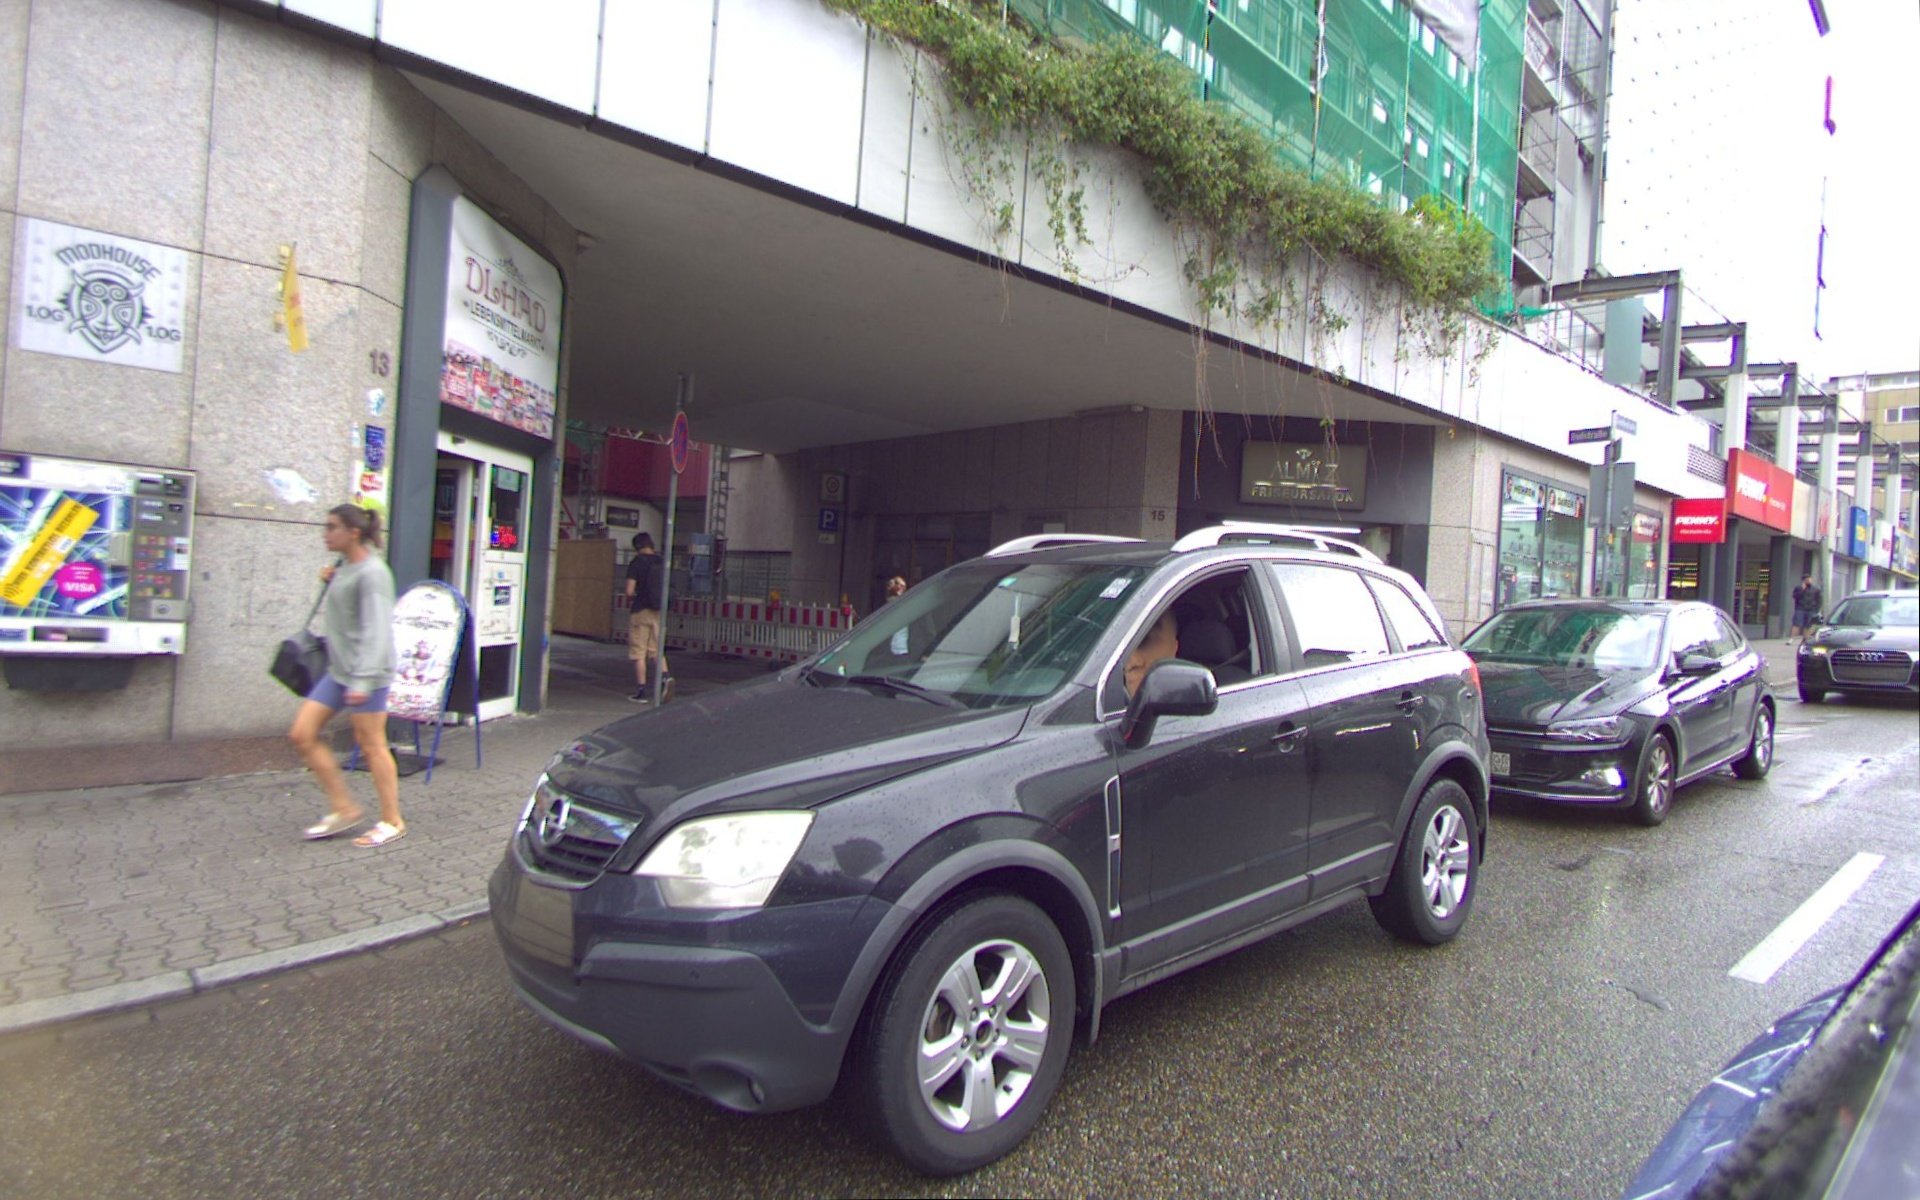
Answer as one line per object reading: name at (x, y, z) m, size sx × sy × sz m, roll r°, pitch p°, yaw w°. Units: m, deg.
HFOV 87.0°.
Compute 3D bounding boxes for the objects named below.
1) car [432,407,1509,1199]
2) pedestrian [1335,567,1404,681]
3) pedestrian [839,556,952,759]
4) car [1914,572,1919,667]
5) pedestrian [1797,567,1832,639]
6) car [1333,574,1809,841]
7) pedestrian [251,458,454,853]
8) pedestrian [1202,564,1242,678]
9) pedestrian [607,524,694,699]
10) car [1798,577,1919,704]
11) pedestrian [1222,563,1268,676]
car at (0.399, 0.533, 3.979) m, size 4.090 × 1.788 × 1.763 m, roll 1°, pitch 0°, yaw -41°
pedestrian at (6.187, 0.347, 15.316) m, size 0.626 × 1.663 × 0.735 m, roll -1°, pitch 1°, yaw -17°
pedestrian at (-0.621, 0.506, 9.722) m, size 0.760 × 1.838 × 0.743 m, roll 0°, pitch 3°, yaw -40°
car at (19.690, 0.390, 19.071) m, size 4.088 × 1.728 × 1.988 m, roll 1°, pitch 0°, yaw -39°
pedestrian at (20.543, 0.068, 24.339) m, size 0.570 × 1.699 × 0.509 m, roll -1°, pitch 3°, yaw -42°
car at (4.798, 0.633, 7.731) m, size 4.086 × 1.523 × 1.759 m, roll 1°, pitch 0°, yaw -38°
pedestrian at (-3.133, 0.225, 5.208) m, size 0.760 × 1.837 × 0.743 m, roll -1°, pitch 6°, yaw -42°
pedestrian at (4.032, 0.313, 15.596) m, size 0.474 × 1.729 × 0.467 m, roll 0°, pitch 0°, yaw 1°
pedestrian at (-3.444, 0.107, 11.227) m, size 0.757 × 1.837 × 0.745 m, roll 0°, pitch 5°, yaw -29°
car at (13.624, 0.495, 14.435) m, size 4.089 × 1.628 × 1.841 m, roll -1°, pitch 1°, yaw -39°
pedestrian at (4.173, 0.271, 14.834) m, size 0.630 × 1.615 × 0.574 m, roll 0°, pitch 1°, yaw 17°
